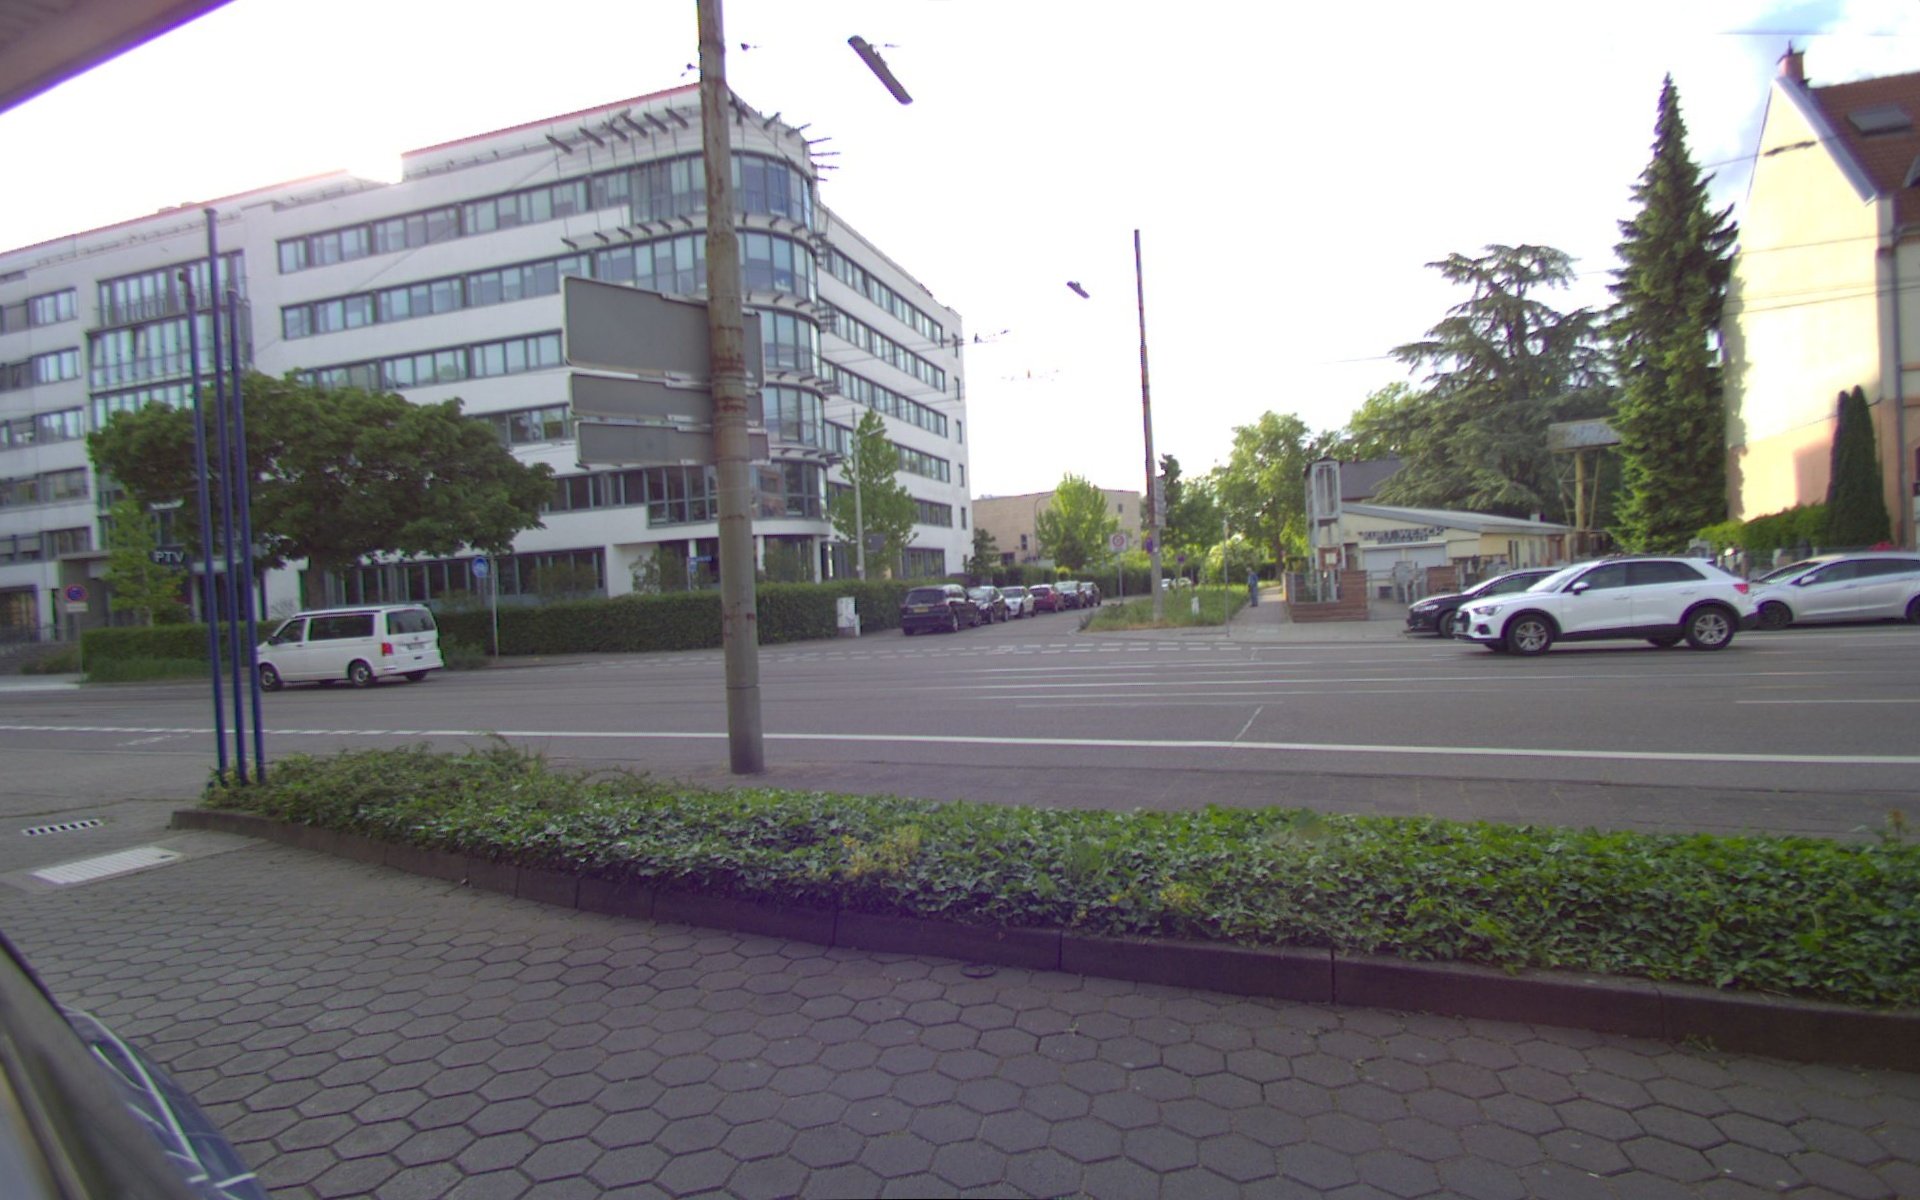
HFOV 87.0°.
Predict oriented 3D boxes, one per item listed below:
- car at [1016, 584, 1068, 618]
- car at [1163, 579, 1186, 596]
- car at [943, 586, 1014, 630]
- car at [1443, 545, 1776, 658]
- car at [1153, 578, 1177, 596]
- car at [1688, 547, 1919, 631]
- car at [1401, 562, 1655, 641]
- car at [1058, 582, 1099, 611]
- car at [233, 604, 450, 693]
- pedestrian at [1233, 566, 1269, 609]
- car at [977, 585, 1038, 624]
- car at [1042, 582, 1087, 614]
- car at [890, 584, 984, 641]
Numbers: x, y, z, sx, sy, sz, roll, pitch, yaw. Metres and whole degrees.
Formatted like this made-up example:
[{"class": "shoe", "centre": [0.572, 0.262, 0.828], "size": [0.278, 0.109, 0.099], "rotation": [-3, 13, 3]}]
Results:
[{"class": "car", "centre": [4.282, 0.024, 52.364], "size": [1.773, 1.552, 4.018], "rotation": [-4, 0, 17]}, {"class": "car", "centre": [22.564, -1.303, 106.313], "size": [1.774, 1.653, 4.060], "rotation": [-4, 0, 19]}, {"class": "car", "centre": [0.793, 0.291, 40.898], "size": [1.773, 1.565, 4.083], "rotation": [-4, 0, 17]}, {"class": "car", "centre": [10.948, 0.053, 17.422], "size": [4.337, 1.588, 1.833], "rotation": [-4, -1, 13]}, {"class": "car", "centre": [20.425, -1.274, 100.616], "size": [1.774, 1.653, 4.060], "rotation": [-4, 0, 19]}, {"class": "car", "centre": [18.486, -0.254, 21.501], "size": [4.459, 1.486, 1.986], "rotation": [-4, 0, 22]}, {"class": "car", "centre": [12.910, 0.047, 23.418], "size": [4.791, 1.507, 1.986], "rotation": [-3, 0, 22]}, {"class": "car", "centre": [7.369, -0.233, 62.675], "size": [1.773, 1.653, 4.064], "rotation": [-4, 0, 17]}, {"class": "car", "centre": [-15.855, 1.236, 25.972], "size": [4.846, 1.983, 1.989], "rotation": [-3, 0, 17]}, {"class": "pedestrian", "centre": [12.706, -0.528, 44.158], "size": [0.988, 1.843, 1.096], "rotation": [-1, 0, -28]}, {"class": "car", "centre": [2.201, 0.177, 45.759], "size": [1.773, 1.565, 4.083], "rotation": [-4, 0, 17]}, {"class": "car", "centre": [5.977, -0.136, 57.665], "size": [1.773, 1.653, 4.064], "rotation": [-4, 0, 17]}, {"class": "car", "centre": [-0.728, 0.383, 35.541], "size": [1.962, 1.625, 4.411], "rotation": [-4, 2, 17]}]
